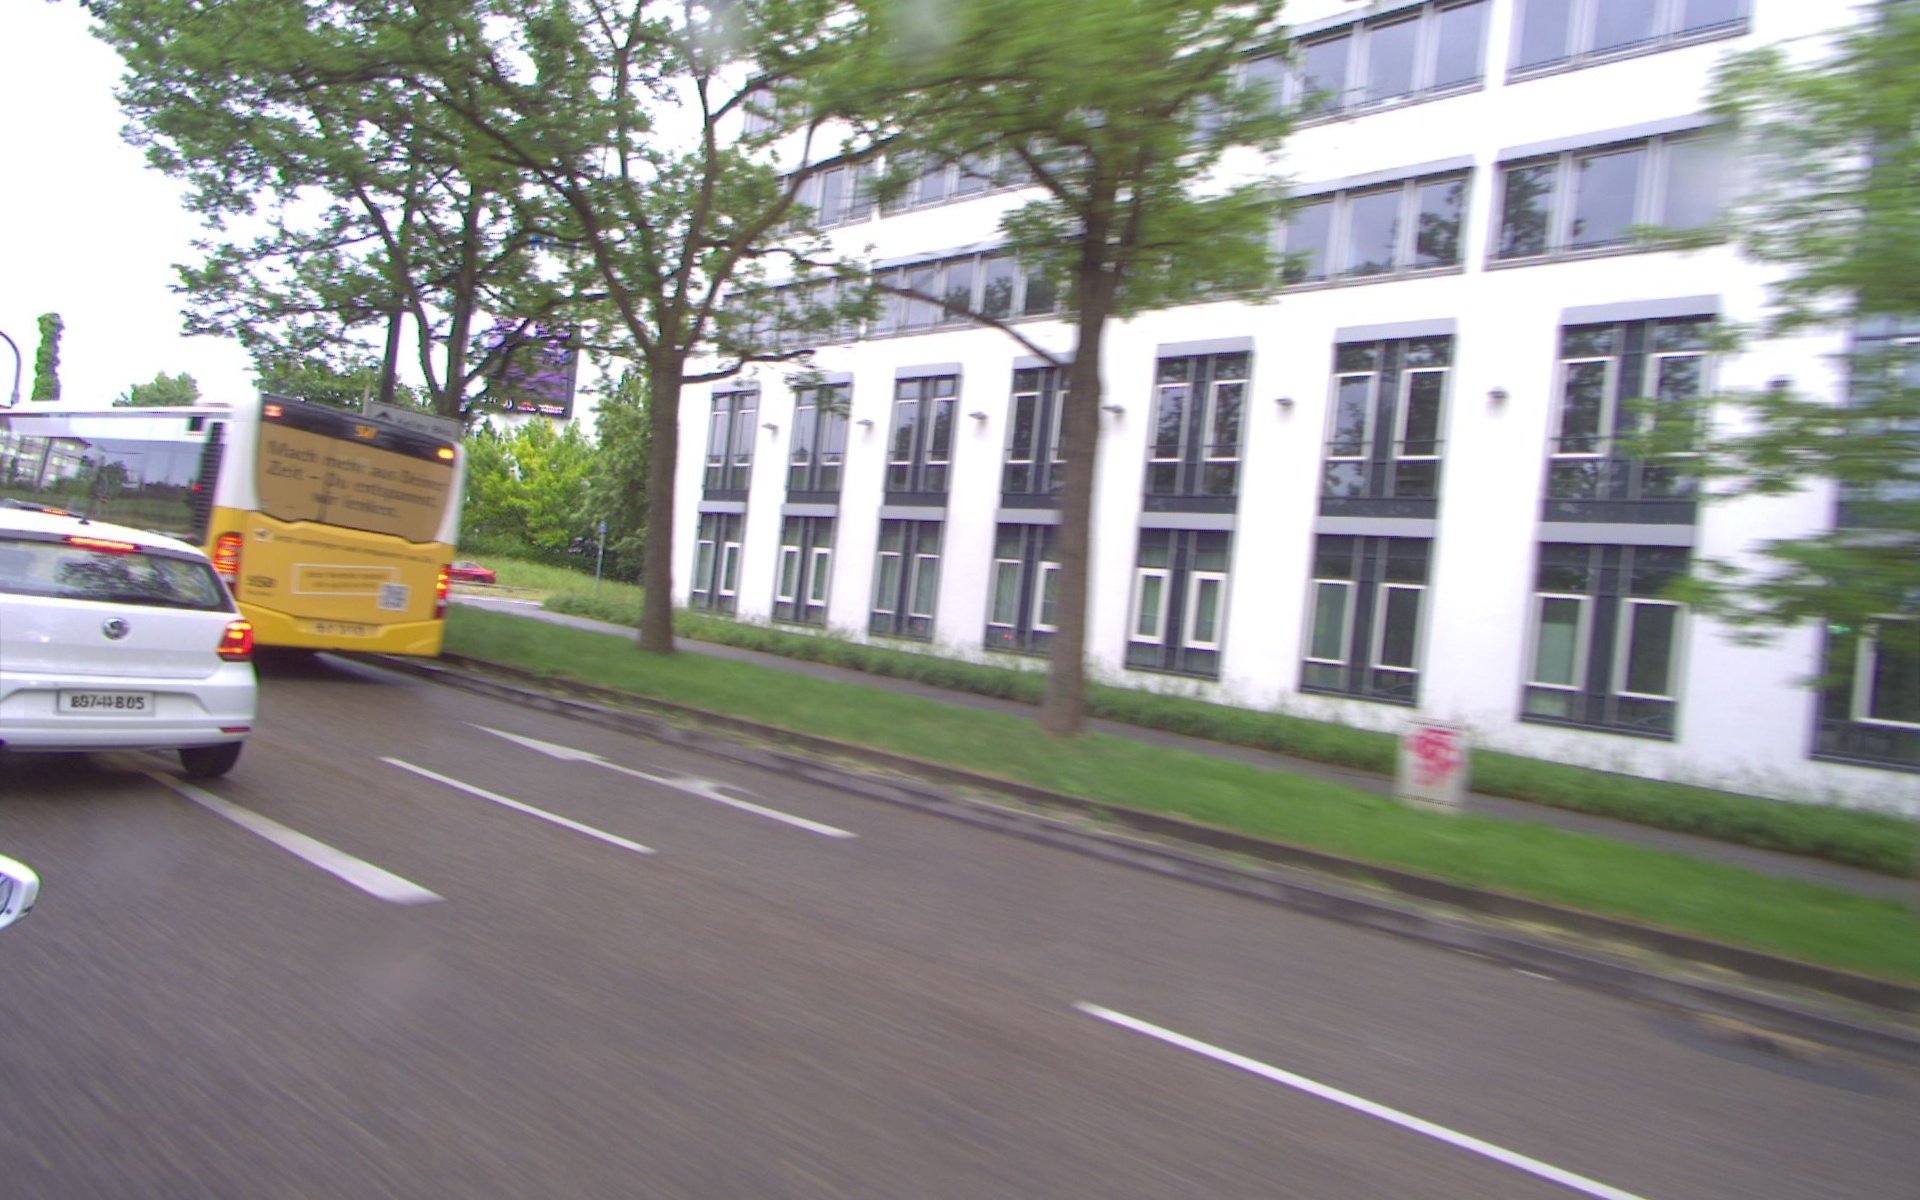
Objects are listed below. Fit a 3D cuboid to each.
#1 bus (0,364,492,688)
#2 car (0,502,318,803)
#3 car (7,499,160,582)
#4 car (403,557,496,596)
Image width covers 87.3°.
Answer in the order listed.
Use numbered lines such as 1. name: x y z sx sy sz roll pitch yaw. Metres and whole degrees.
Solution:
1. bus: -11.673 -1.281 14.687 11.950 3.187 2.732 7 -2 34
2. car: -5.954 0.148 6.256 3.749 1.447 1.745 6 -3 32
3. car: -19.631 -1.282 22.729 1.851 1.516 4.118 5 -1 -32
4. car: -29.203 -1.301 57.572 4.491 1.486 2.147 10 -3 -30
